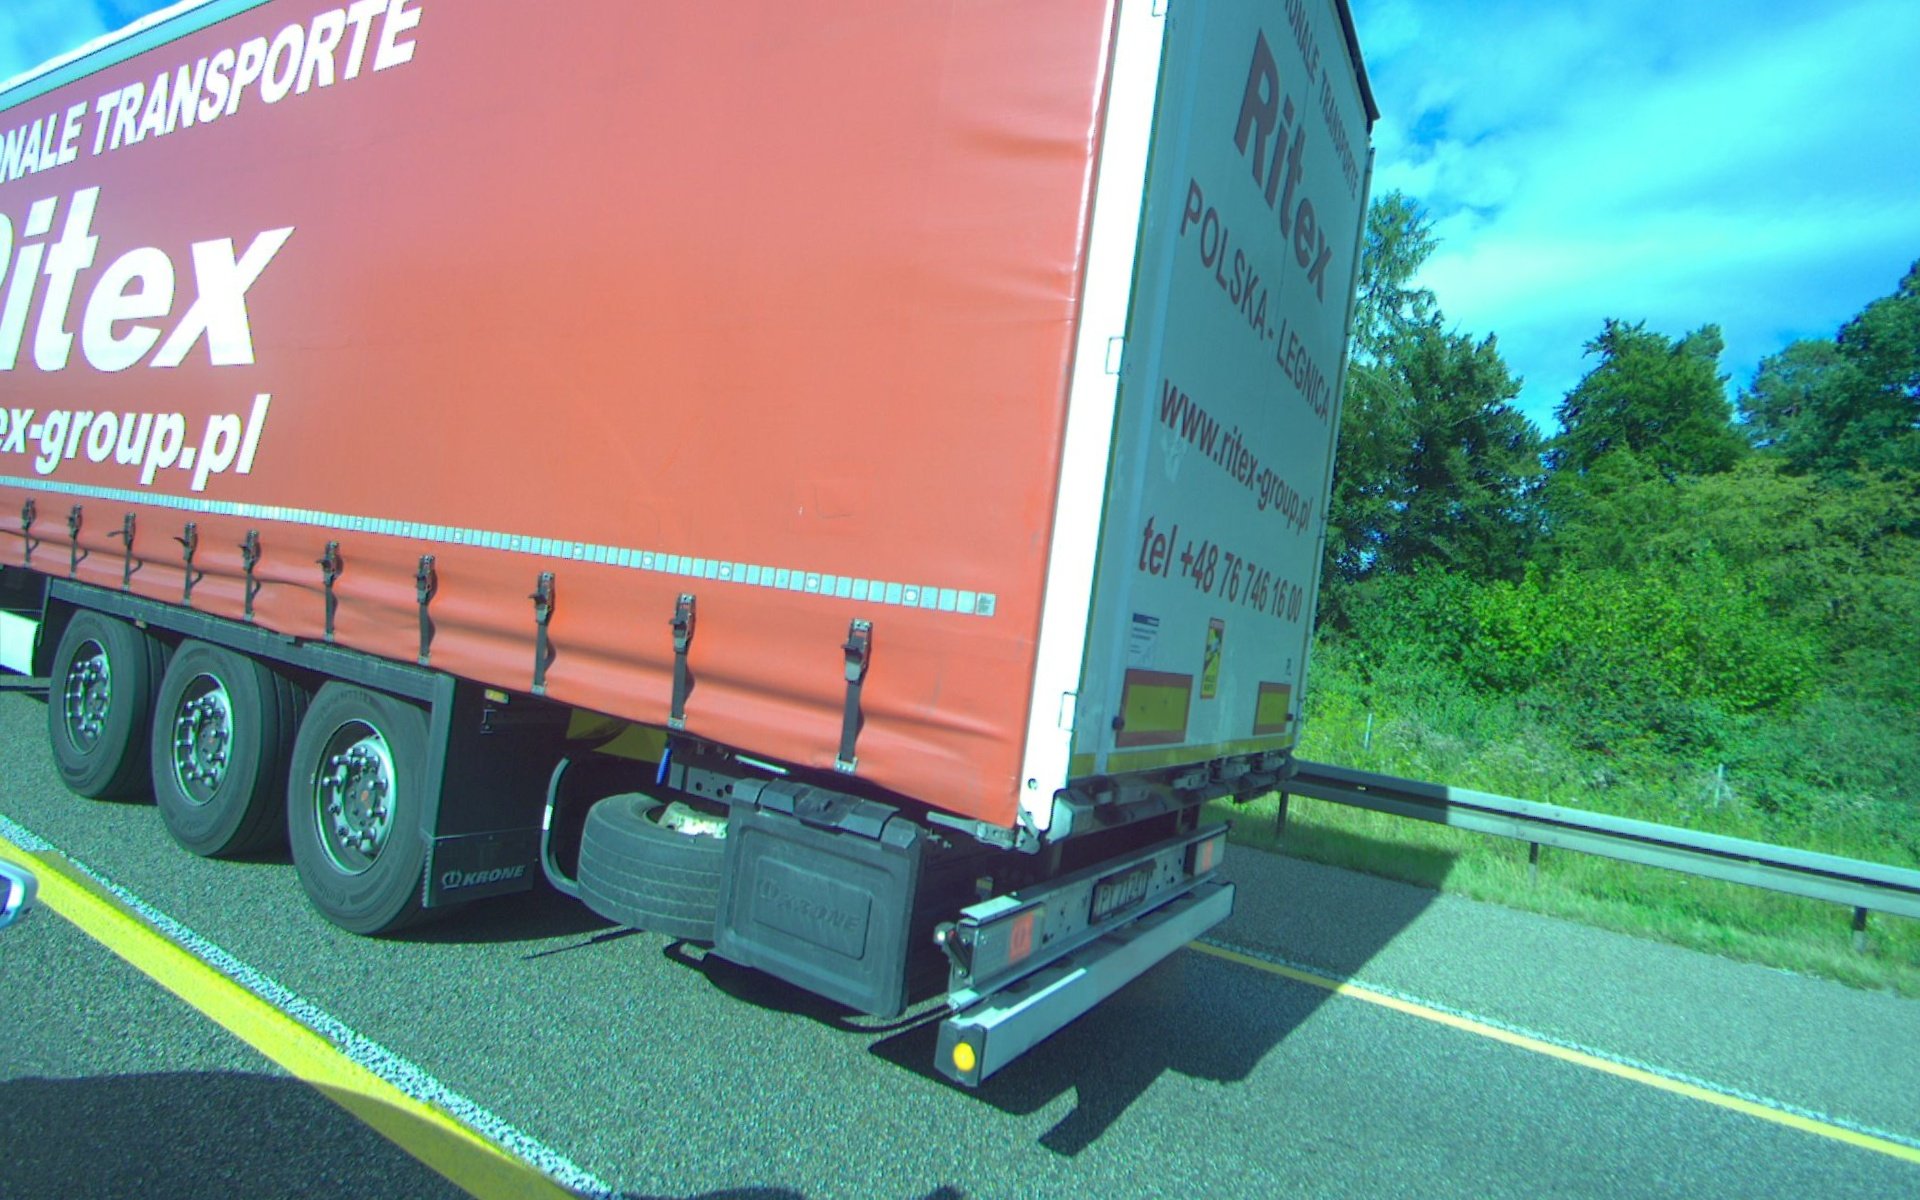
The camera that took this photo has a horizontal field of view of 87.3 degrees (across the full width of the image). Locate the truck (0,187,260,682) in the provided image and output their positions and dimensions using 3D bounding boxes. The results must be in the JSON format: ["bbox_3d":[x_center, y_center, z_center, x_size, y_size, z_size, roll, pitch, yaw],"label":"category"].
[{"bbox_3d":[-10.165,-1.602,10.142,5.615,4.006,2.673,7,-1,31],"label":"truck"}]

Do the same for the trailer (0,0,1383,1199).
[{"bbox_3d":[-4.625,-0.930,6.776,13.193,4.015,2.705,7,-1,31],"label":"trailer"}]
